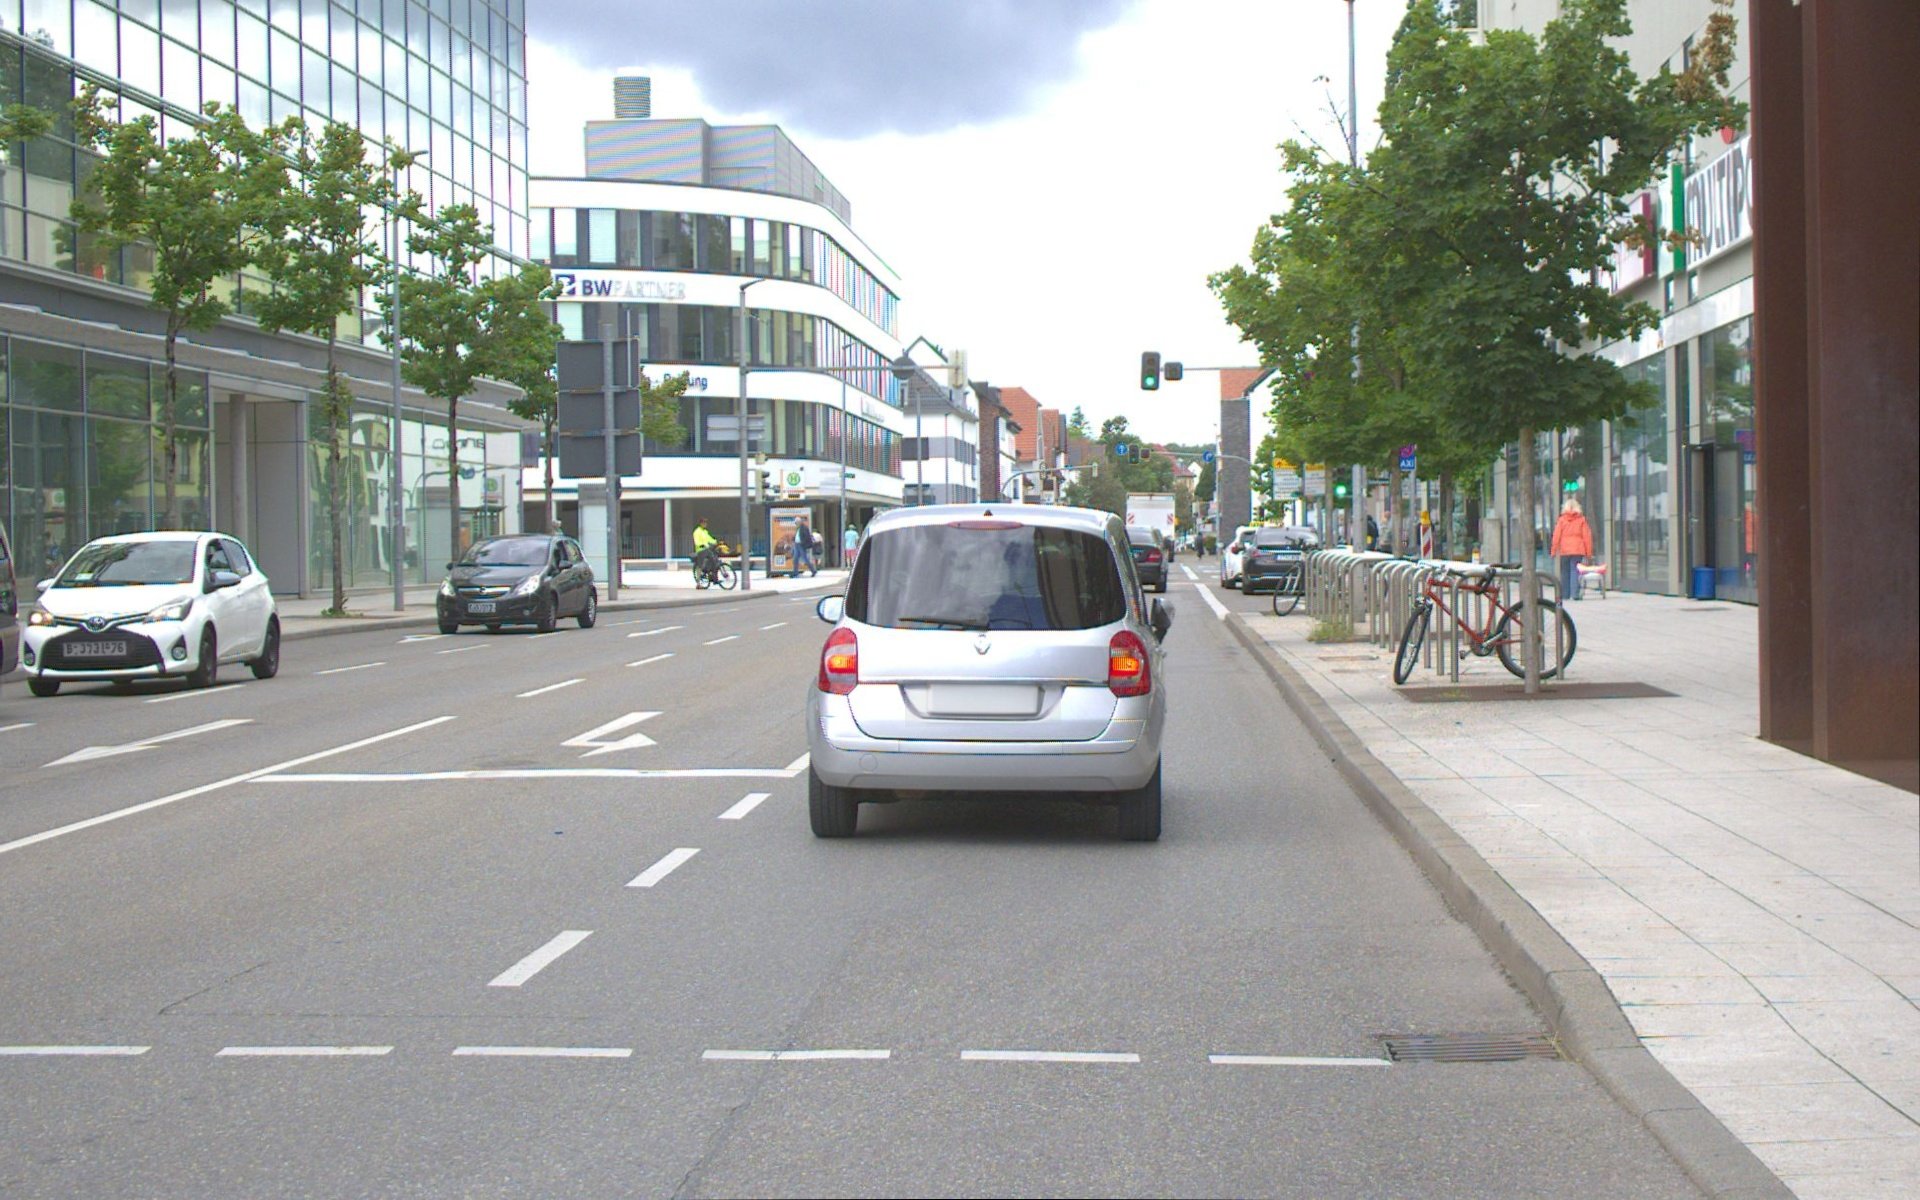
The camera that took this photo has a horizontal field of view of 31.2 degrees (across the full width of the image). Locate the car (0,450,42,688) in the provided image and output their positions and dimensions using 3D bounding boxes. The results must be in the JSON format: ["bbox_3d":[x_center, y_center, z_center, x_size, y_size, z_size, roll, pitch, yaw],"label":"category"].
[{"bbox_3d":[-8.684,-0.169,25.898,1.865,1.903,5.113,-2,2,3],"label":"car"}]

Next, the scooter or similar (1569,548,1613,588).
[{"bbox_3d":[9.514,-0.482,51.848,0.550,0.544,0.642,-4,2,4],"label":"scooter or similar"}]

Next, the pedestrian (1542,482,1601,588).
[{"bbox_3d":[9.365,-0.998,52.677,0.710,1.569,0.812,-4,2,4],"label":"pedestrian"}]

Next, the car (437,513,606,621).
[{"bbox_3d":[-6.547,-0.527,51.703,1.660,1.475,4.000,-2,2,5],"label":"car"}]

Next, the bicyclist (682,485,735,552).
[{"bbox_3d":[-6.428,-2.082,87.716,1.006,1.655,0.933,1,2,-30],"label":"bicyclist"}]

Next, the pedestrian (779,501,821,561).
[{"bbox_3d":[-5.007,-2.167,107.517,1.246,1.826,0.964,-2,2,-5],"label":"pedestrian"}]

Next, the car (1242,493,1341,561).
[{"bbox_3d":[6.922,-1.550,72.110,1.877,1.330,4.000,1,2,3],"label":"car"}]

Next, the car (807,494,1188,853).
[{"bbox_3d":[0.194,0.271,17.169,1.670,1.549,3.642,1,2,1],"label":"car"}]

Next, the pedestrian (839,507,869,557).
[{"bbox_3d":[-3.936,-2.529,128.025,0.961,1.826,1.250,-1,2,4],"label":"pedestrian"}]

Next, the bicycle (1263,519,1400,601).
[{"bbox_3d":[5.187,-0.562,48.097,1.825,1.071,0.752,-2,2,2],"label":"bicycle"}]

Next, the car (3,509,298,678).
[{"bbox_3d":[-7.763,-0.109,33.326,1.660,1.460,4.000,-2,2,3],"label":"car"}]

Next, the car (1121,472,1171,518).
[{"bbox_3d":[8.419,-4.738,155.403,2.170,2.006,4.258,-1,2,4],"label":"car"}]

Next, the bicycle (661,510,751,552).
[{"bbox_3d":[-6.501,-1.767,87.832,1.006,1.015,3.130,1,2,-30],"label":"bicycle"}]

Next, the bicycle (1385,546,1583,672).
[{"bbox_3d":[4.279,0.068,28.162,1.561,0.989,0.752,-1,2,7],"label":"bicycle"}]

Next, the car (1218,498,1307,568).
[{"bbox_3d":[6.899,-1.551,78.716,1.877,1.503,4.000,1,2,3],"label":"car"}]

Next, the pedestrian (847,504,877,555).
[{"bbox_3d":[-3.575,-2.577,125.596,0.961,1.826,1.250,-1,2,4],"label":"pedestrian"}]

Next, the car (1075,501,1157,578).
[{"bbox_3d":[3.367,-1.309,73.707,1.670,1.549,3.642,1,2,3],"label":"car"}]
